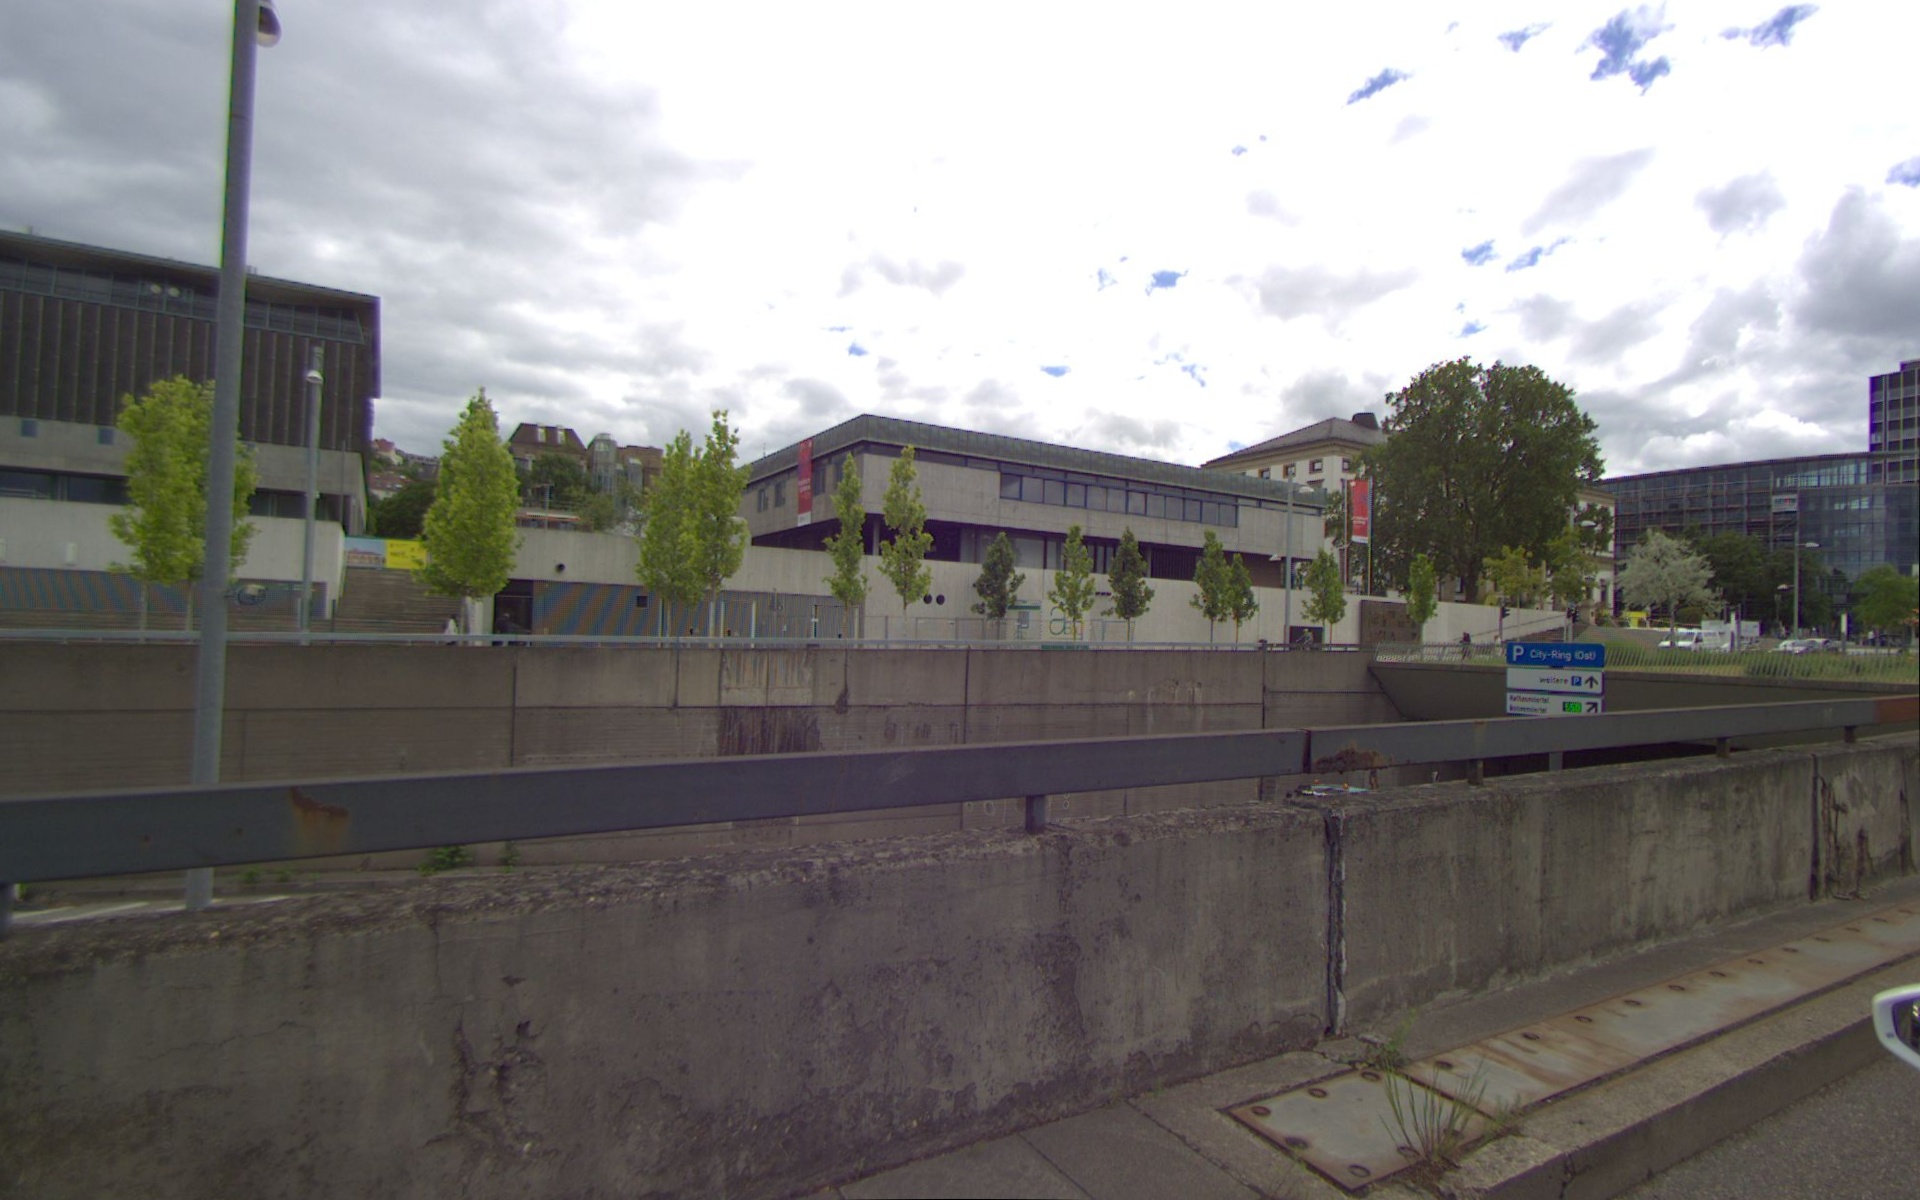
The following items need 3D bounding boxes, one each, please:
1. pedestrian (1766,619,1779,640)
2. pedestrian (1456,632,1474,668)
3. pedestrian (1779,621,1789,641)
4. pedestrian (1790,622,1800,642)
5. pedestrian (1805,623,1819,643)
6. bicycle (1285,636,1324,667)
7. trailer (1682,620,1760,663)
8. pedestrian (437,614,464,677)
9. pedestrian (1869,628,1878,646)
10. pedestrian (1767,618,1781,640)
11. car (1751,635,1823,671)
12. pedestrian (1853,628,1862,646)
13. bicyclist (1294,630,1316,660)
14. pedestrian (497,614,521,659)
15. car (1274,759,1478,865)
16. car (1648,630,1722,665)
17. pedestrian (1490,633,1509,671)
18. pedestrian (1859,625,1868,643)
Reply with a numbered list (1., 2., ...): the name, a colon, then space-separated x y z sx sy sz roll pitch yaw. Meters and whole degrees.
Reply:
1. pedestrian: 78.074 2.805 96.504 0.783 2.040 0.735 0 -1 -29
2. pedestrian: 29.358 2.904 58.448 0.777 2.040 0.741 0 0 13
3. pedestrian: 85.367 3.239 104.092 0.729 2.040 0.917 -1 -1 37
4. pedestrian: 87.108 3.336 104.809 0.729 2.040 0.917 -1 -1 39
5. pedestrian: 88.867 3.431 104.739 0.728 2.040 0.790 0 -1 -16
6. bicycle: 18.830 2.820 54.836 2.165 1.556 0.722 3 0 -31
7. trailer: 48.941 2.624 64.567 5.443 2.640 2.028 1 1 -30
8. pedestrian: -16.981 1.505 33.481 0.782 2.040 0.736 0 -1 -25
9. pedestrian: 103.360 4.145 113.641 0.731 2.040 0.788 -1 -1 45
10. pedestrian: 75.080 2.673 92.653 0.784 2.040 0.735 4 -2 -30
11. car: 51.424 3.243 62.436 4.635 2.040 1.985 0 0 -30
12. pedestrian: 102.872 4.227 115.149 0.729 2.040 0.790 -1 -1 38
13. bicyclist: 18.807 2.453 54.797 0.767 1.574 0.727 3 0 -31
14. pedestrian: -16.911 1.374 37.684 0.783 1.664 0.736 0 -1 -27
15. car: 12.555 6.239 30.216 5.865 2.341 2.607 3 0 -30
16. car: 44.658 2.884 61.833 4.635 2.040 1.985 0 0 -30
17. pedestrian: 29.149 2.785 54.283 0.846 2.040 0.629 -1 -1 23
18. pedestrian: 102.639 3.864 114.093 0.731 2.040 0.788 -1 -1 45
